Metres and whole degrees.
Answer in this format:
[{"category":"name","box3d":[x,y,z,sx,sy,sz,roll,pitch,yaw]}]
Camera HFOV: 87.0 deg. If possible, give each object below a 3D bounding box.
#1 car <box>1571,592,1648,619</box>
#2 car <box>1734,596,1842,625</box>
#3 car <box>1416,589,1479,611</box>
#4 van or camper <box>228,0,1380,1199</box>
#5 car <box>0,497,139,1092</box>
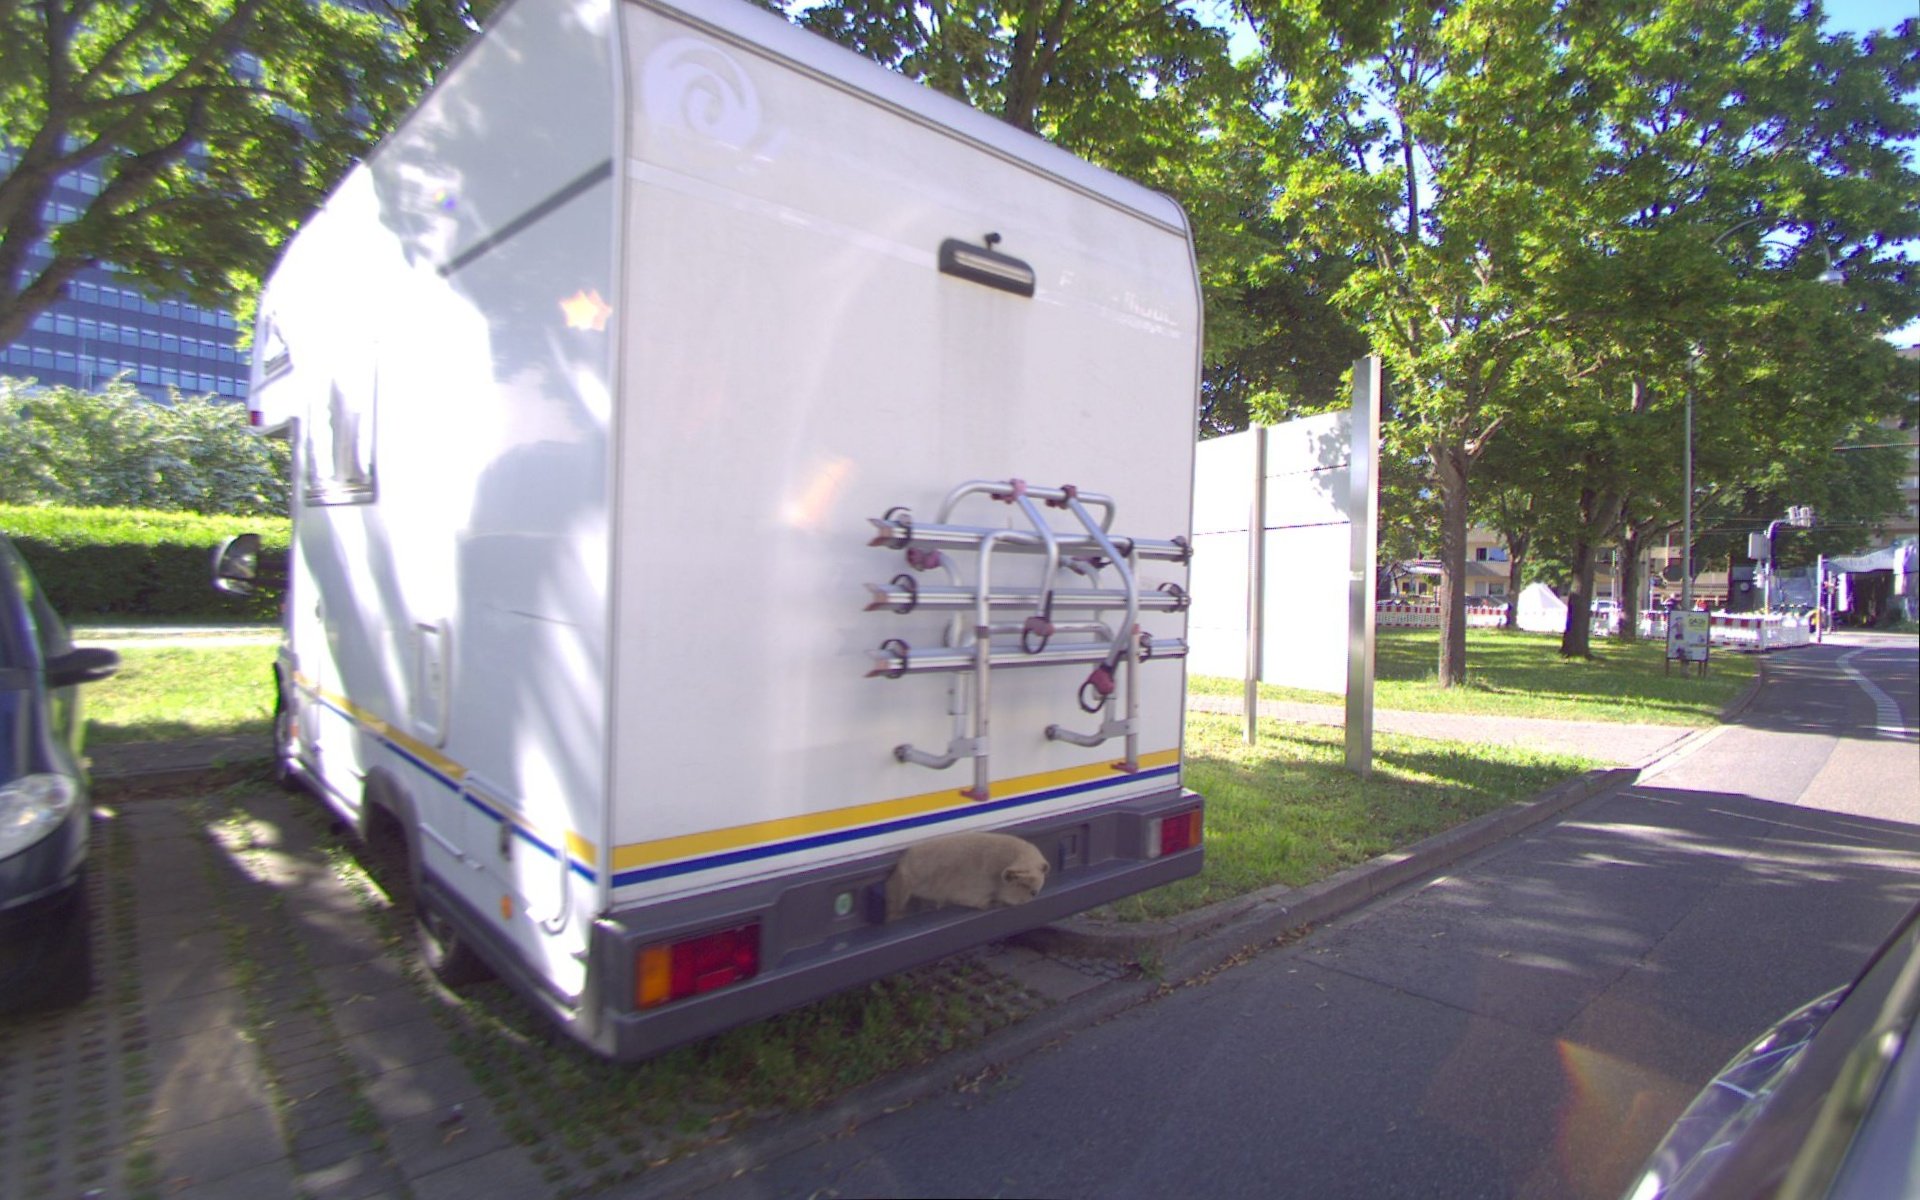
[{"category":"car","box3d":[42.067,0.341,65.628,1.891,1.573,3.760,0,1,-31]},{"category":"car","box3d":[45.365,0.527,55.495,1.896,1.424,4.314,0,1,-41]},{"category":"car","box3d":[36.295,-0.004,75.424,1.891,1.573,3.760,0,1,-31]},{"category":"van or camper","box3d":[-1.565,-0.312,4.907,2.625,3.020,5.994,0,4,-42]},{"category":"car","box3d":[-4.362,0.365,3.736,1.827,1.564,4.157,0,4,-42]}]
